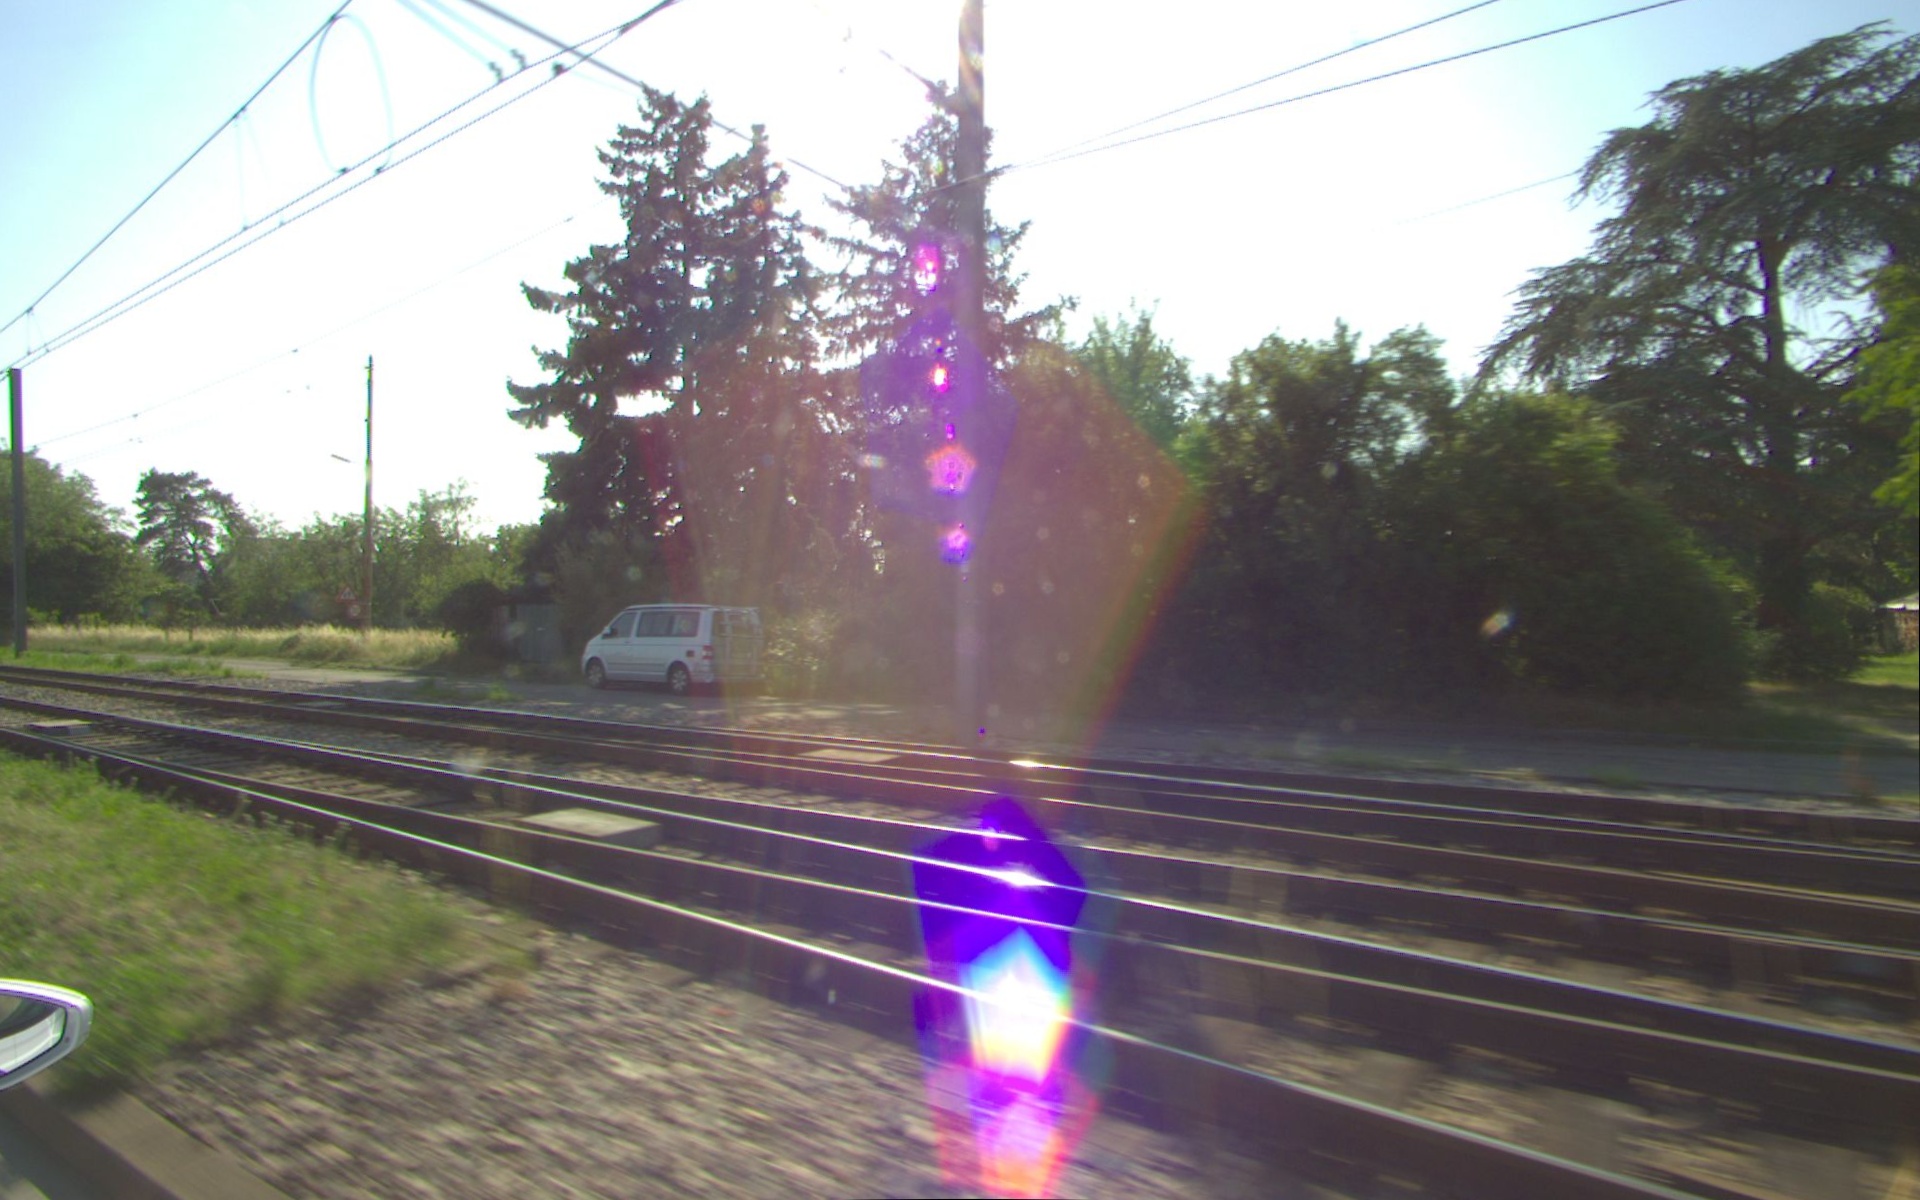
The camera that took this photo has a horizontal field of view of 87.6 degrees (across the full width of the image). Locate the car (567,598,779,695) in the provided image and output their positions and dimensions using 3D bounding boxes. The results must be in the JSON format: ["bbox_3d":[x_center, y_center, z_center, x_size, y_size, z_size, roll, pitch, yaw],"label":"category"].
[{"bbox_3d":[-6.708,1.068,23.174,4.999,2.029,1.989,-1,-4,35],"label":"car"}]
